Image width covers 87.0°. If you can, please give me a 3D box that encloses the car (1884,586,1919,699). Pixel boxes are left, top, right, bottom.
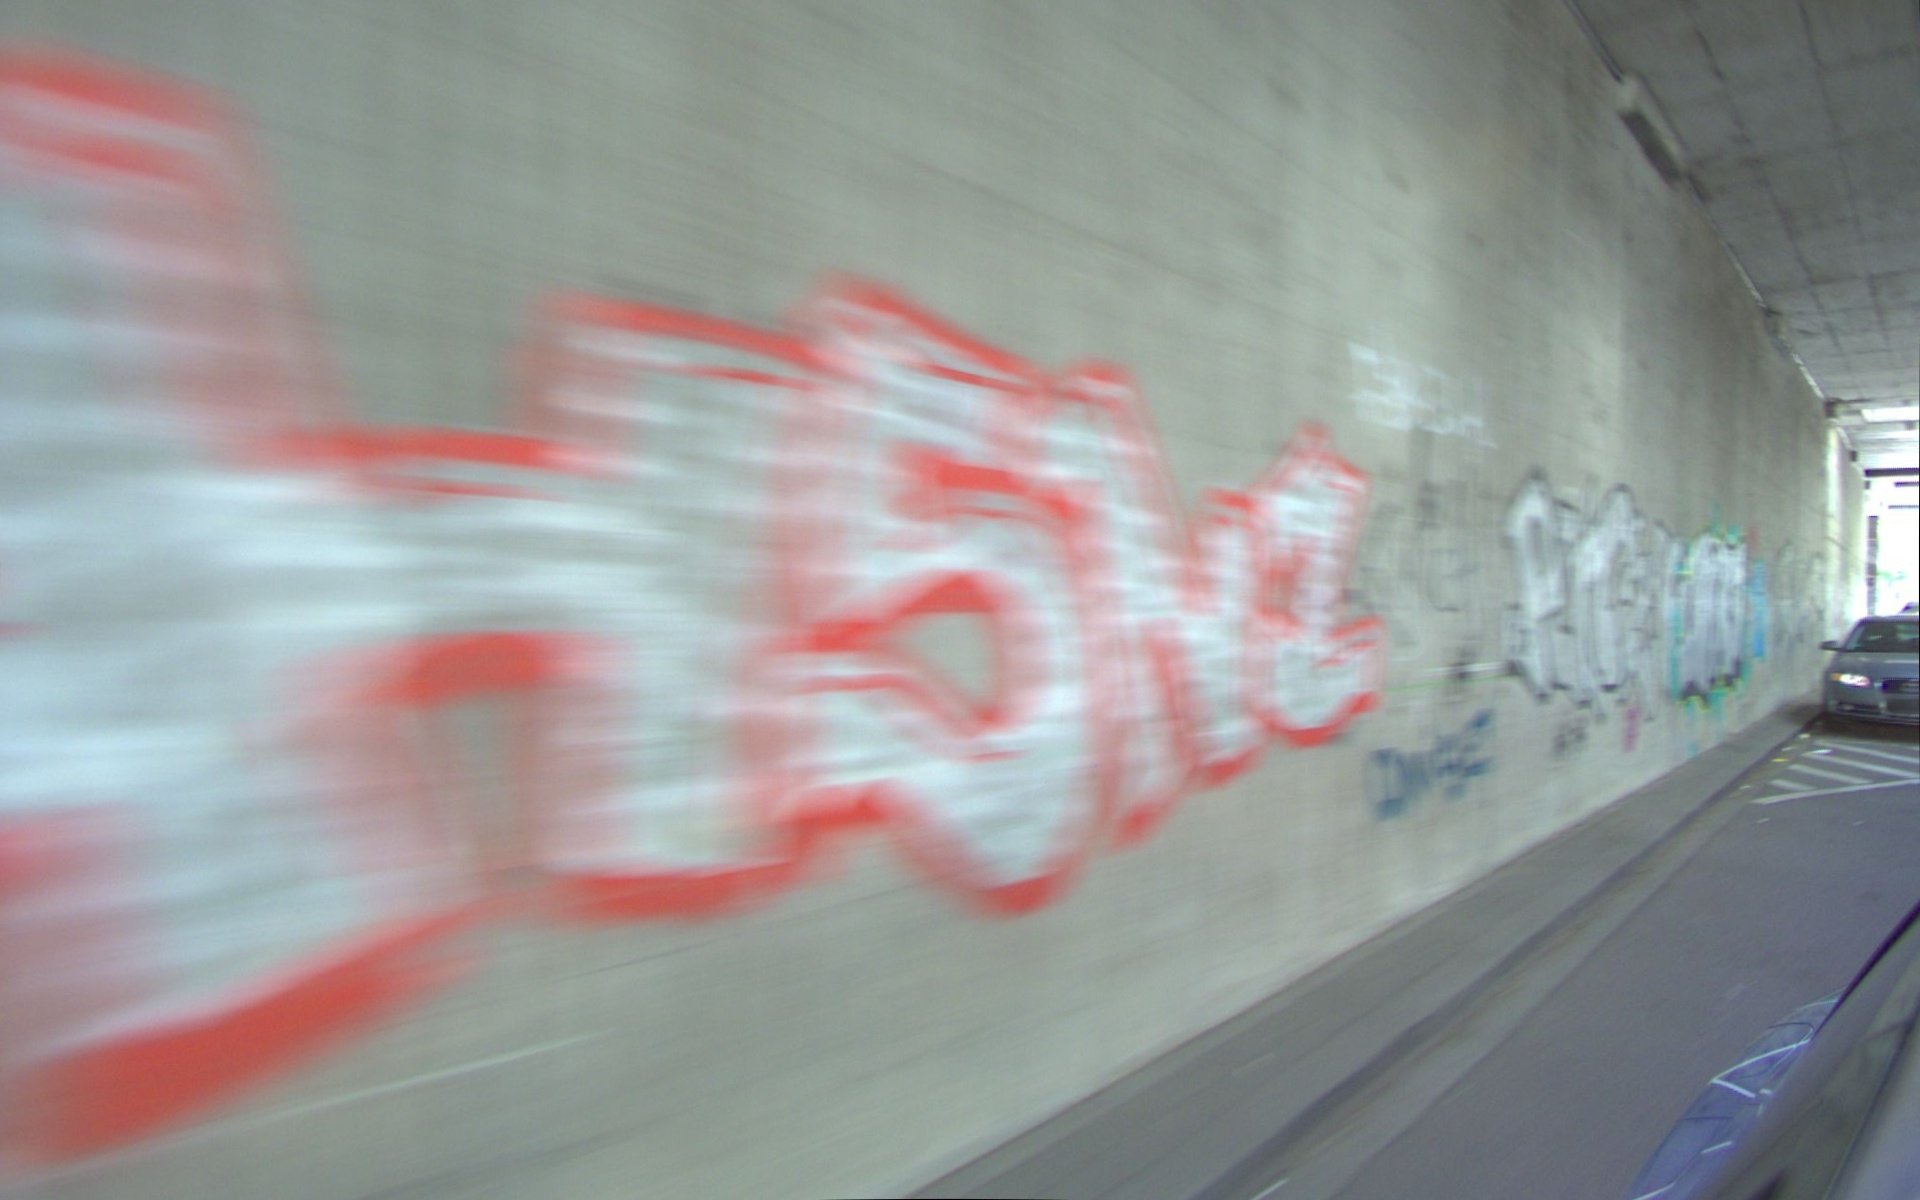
[{"bbox_3d":[16.215,0.660,16.287,1.853,1.687,4.300,0,0,44],"label":"car"}]

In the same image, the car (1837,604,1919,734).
[{"bbox_3d":[12.093,0.762,12.483,1.701,1.392,4.304,0,0,44],"label":"car"}]
